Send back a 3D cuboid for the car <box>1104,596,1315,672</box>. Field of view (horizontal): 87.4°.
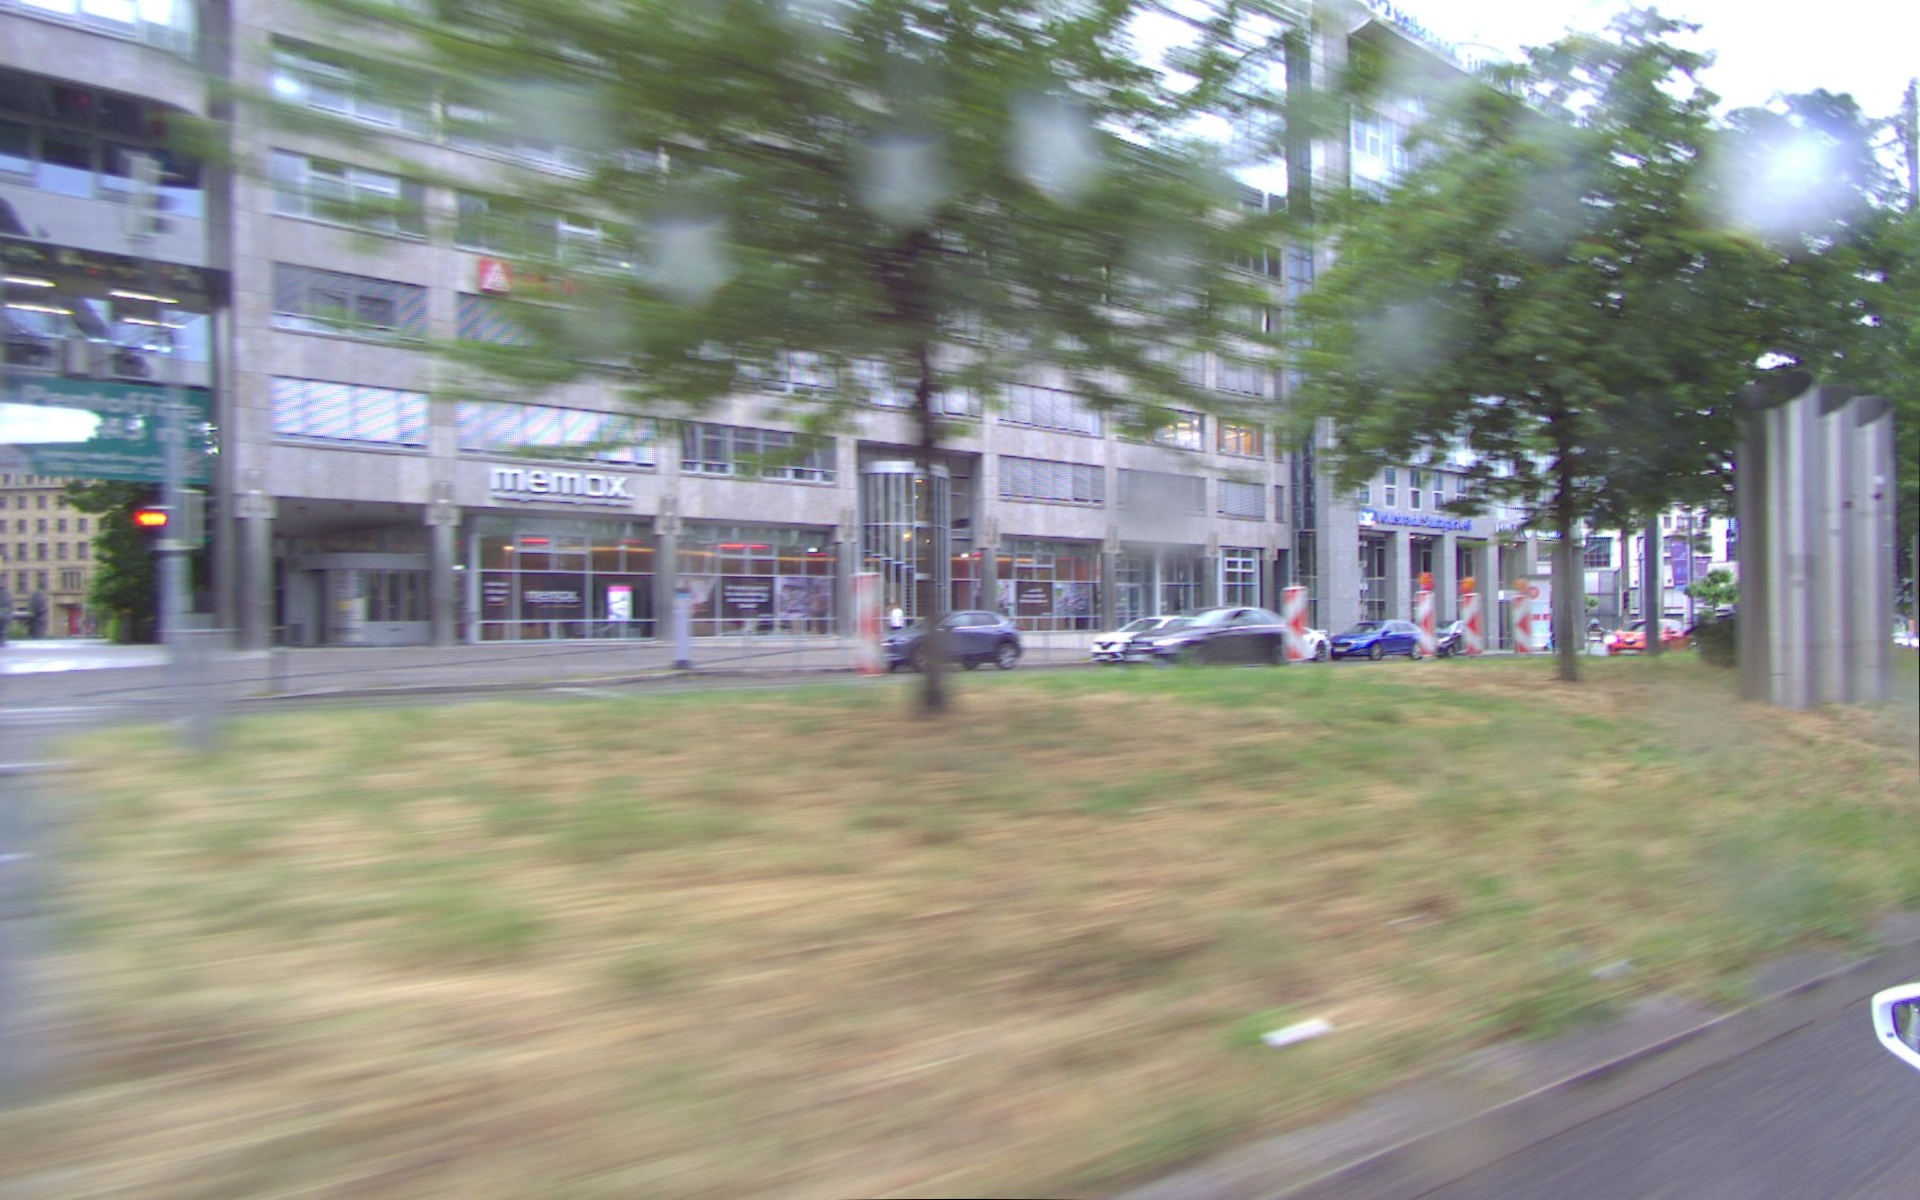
[{"bbox_3d":[5.362,0.705,21.402,4.519,1.448,1.850,1,-2,-35],"label":"car"}]

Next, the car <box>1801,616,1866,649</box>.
[{"bbox_3d":[47.372,1.764,54.435,3.964,1.723,1.931,1,-1,-38],"label":"car"}]

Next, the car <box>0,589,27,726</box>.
[{"bbox_3d":[-11.843,0.594,9.626,3.957,1.433,1.779,1,-3,-33],"label":"car"}]

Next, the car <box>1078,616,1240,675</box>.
[{"bbox_3d":[5.968,1.308,29.889,4.859,1.643,1.766,1,-2,-32],"label":"car"}]

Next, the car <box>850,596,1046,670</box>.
[{"bbox_3d":[-0.257,0.823,25.579,4.739,1.748,1.852,1,-2,-32],"label":"car"}]

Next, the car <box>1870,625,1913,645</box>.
[{"bbox_3d":[72.676,2.717,78.336,4.155,1.495,1.806,1,-2,-38],"label":"car"}]

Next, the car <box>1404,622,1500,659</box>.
[{"bbox_3d":[19.881,1.617,40.571,3.975,1.420,1.765,1,-2,-35],"label":"car"}]

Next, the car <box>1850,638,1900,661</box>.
[{"bbox_3d":[62.097,3.331,68.166,3.964,1.495,1.854,1,-2,-38],"label":"car"}]

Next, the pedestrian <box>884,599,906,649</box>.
[{"bbox_3d":[-2.407,0.889,37.298,0.523,1.811,0.715,0,0,-33],"label":"pedestrian"}]

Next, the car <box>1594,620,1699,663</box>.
[{"bbox_3d":[24.481,1.445,35.787,4.093,1.448,1.849,1,-2,-36],"label":"car"}]

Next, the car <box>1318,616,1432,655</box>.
[{"bbox_3d":[15.417,1.304,37.257,4.433,1.343,1.879,1,-1,-36],"label":"car"}]

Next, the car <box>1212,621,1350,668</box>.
[{"bbox_3d":[10.520,1.415,32.844,4.633,1.420,1.766,1,-2,-32],"label":"car"}]
